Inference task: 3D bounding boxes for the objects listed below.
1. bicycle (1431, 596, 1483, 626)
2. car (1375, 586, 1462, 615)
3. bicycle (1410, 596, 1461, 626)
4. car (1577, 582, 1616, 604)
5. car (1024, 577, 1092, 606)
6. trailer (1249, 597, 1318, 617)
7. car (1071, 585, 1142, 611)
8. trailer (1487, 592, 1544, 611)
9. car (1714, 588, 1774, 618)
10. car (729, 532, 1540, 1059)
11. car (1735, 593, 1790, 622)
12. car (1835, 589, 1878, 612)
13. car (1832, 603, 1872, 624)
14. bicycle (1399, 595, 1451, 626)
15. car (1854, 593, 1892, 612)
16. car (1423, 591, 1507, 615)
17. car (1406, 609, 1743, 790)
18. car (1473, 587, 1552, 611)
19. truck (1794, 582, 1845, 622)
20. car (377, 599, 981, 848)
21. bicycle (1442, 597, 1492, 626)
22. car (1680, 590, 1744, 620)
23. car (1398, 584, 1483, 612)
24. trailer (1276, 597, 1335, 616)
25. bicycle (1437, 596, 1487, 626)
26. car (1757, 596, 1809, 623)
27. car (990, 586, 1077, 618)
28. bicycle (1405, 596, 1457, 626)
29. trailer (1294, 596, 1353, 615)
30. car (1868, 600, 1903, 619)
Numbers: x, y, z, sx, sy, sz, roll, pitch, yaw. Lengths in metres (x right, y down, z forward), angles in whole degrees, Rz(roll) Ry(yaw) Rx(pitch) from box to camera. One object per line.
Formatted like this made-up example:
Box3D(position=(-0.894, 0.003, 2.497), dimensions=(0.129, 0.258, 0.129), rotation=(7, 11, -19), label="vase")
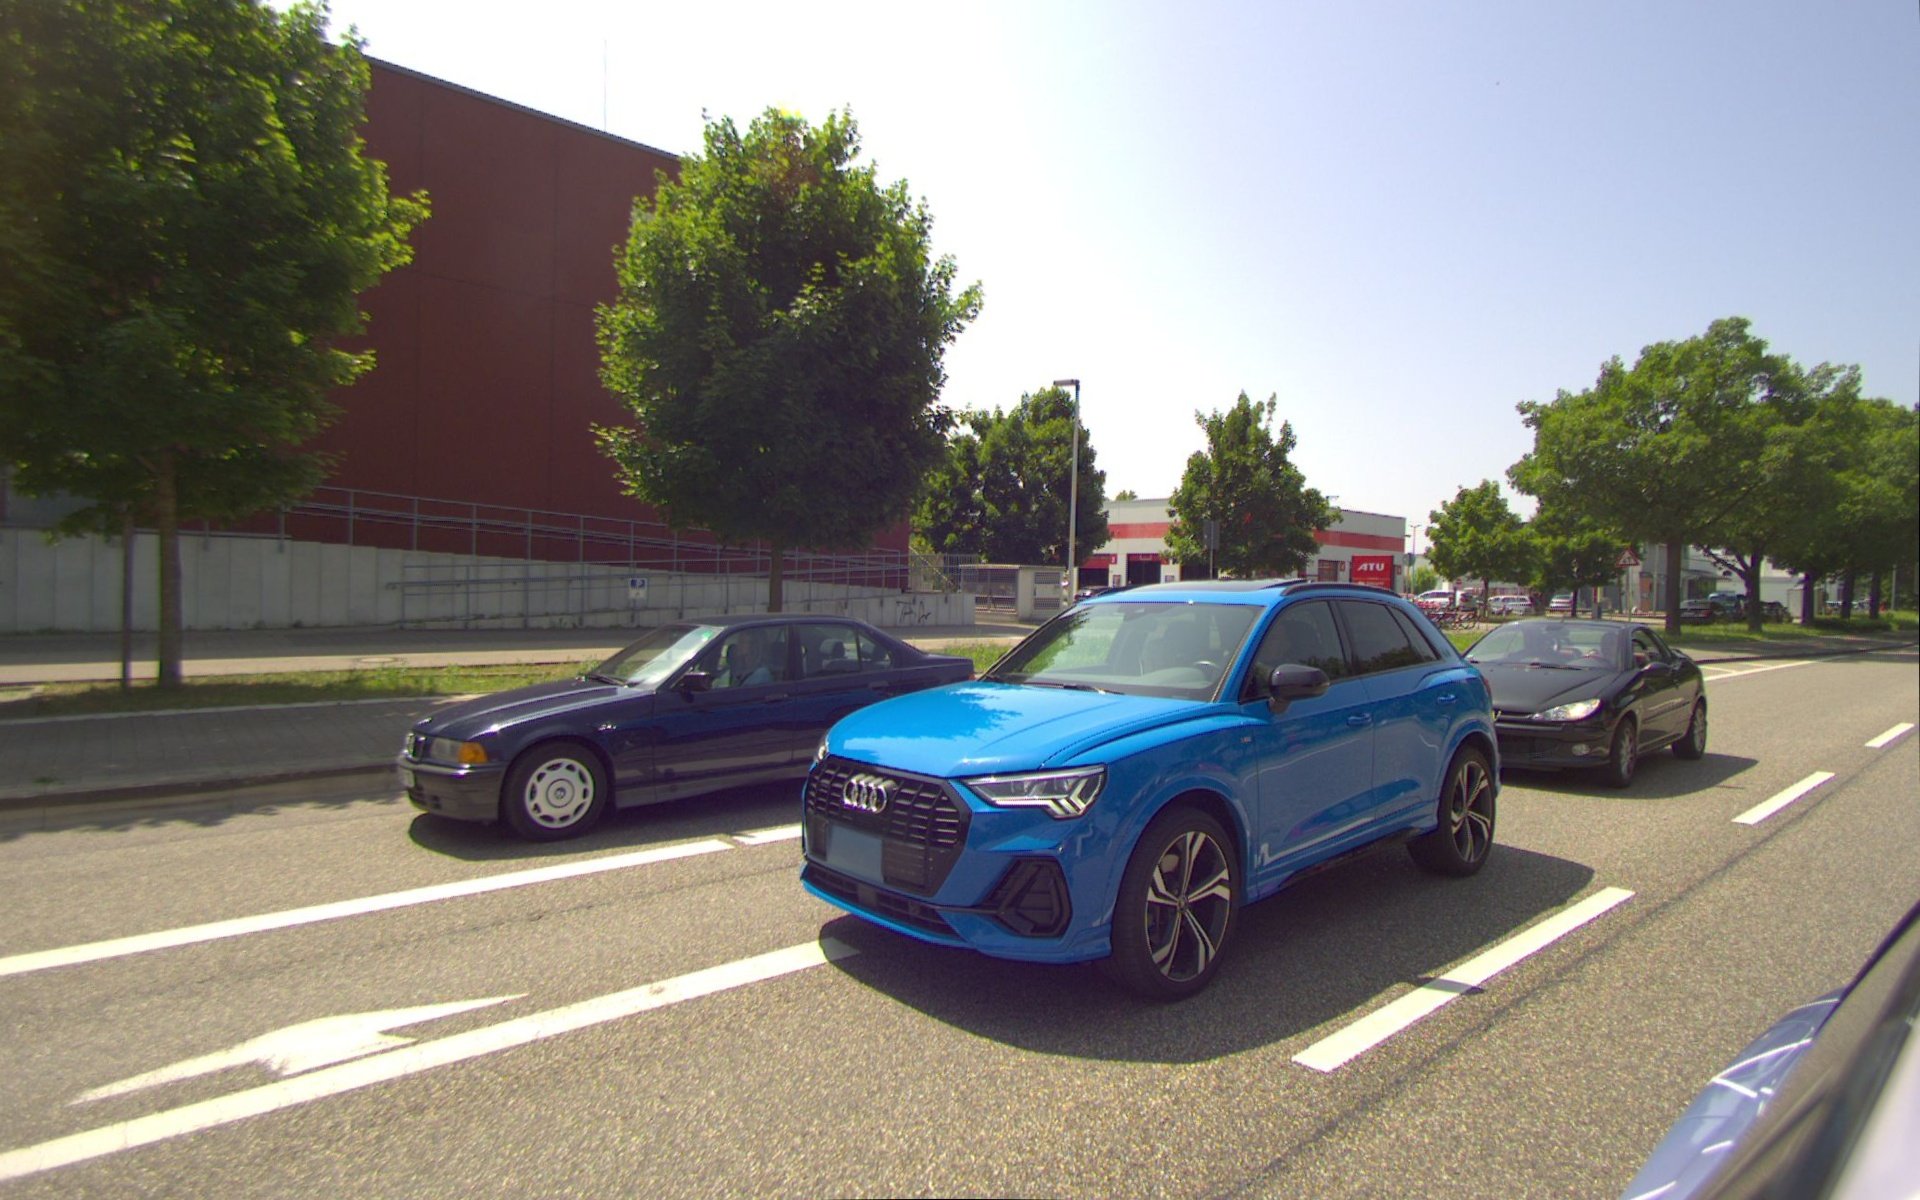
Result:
Box3D(position=(20.149, 0.447, 41.060), dimensions=(1.779, 1.138, 0.506), rotation=(2, 1, 43), label="bicycle")
Box3D(position=(25.107, 0.005, 55.459), dimensions=(1.718, 1.419, 3.992), rotation=(1, 1, -43), label="car")
Box3D(position=(19.239, 0.440, 40.958), dimensions=(1.779, 1.138, 0.506), rotation=(2, 1, 43), label="bicycle")
Box3D(position=(47.539, -0.515, 75.561), dimensions=(1.753, 1.616, 3.939), rotation=(2, 1, 42), label="car")
Box3D(position=(5.871, -0.493, 60.255), dimensions=(4.073, 1.683, 1.716), rotation=(0, 1, -42), label="car")
Box3D(position=(13.894, 0.291, 43.570), dimensions=(1.423, 0.771, 2.467), rotation=(1, 1, -39), label="trailer")
Box3D(position=(8.304, -0.134, 57.269), dimensions=(4.073, 1.390, 1.716), rotation=(0, 2, -42), label="car")
Box3D(position=(33.296, 0.102, 60.716), dimensions=(1.551, 1.065, 2.638), rotation=(1, 1, -43), label="trailer")
Box3D(position=(41.372, 0.174, 53.391), dimensions=(3.929, 1.485, 1.719), rotation=(1, 1, -41), label="car")
Box3D(position=(1.200, 0.589, 5.238), dimensions=(4.323, 1.616, 1.840), rotation=(0, 1, -41), label="car")
Box3D(position=(45.167, 0.410, 56.942), dimensions=(3.929, 1.539, 1.719), rotation=(1, 1, -41), label="car")
Box3D(position=(63.311, 0.044, 71.473), dimensions=(3.929, 1.485, 1.719), rotation=(1, 1, -41), label="car")
Box3D(position=(67.501, 1.039, 76.566), dimensions=(3.929, 1.485, 1.719), rotation=(1, 1, -41), label="car")
Box3D(position=(18.384, 0.397, 40.049), dimensions=(1.779, 1.138, 0.506), rotation=(2, 1, 43), label="bicycle")
Box3D(position=(73.568, 0.207, 81.524), dimensions=(3.929, 1.485, 1.719), rotation=(1, 1, -41), label="car")
Box3D(position=(28.953, 0.131, 58.079), dimensions=(1.718, 1.223, 3.991), rotation=(1, 1, -43), label="car")
Box3D(position=(5.903, 0.765, 9.540), dimensions=(3.931, 1.361, 1.640), rotation=(1, -1, -42), label="car")
Box3D(position=(34.231, -0.085, 62.805), dimensions=(1.661, 1.317, 3.991), rotation=(1, 1, -43), label="car")
Box3D(position=(58.214, 0.131, 68.519), dimensions=(3.928, 2.599, 1.904), rotation=(1, 1, -39), label="truck")
Box3D(position=(-1.906, 0.705, 7.596), dimensions=(4.071, 1.388, 1.641), rotation=(1, -1, -40), label="car")
Box3D(position=(21.033, 0.462, 42.024), dimensions=(1.779, 1.138, 0.506), rotation=(2, 1, 43), label="bicycle")
Box3D(position=(36.826, 0.230, 49.530), dimensions=(3.929, 1.388, 1.641), rotation=(1, 1, -41), label="car")
Box3D(position=(26.930, -0.141, 56.795), dimensions=(1.718, 1.419, 3.991), rotation=(1, 1, -43), label="car")
Box3D(position=(15.270, 0.269, 44.736), dimensions=(1.244, 0.771, 2.137), rotation=(1, 1, -39), label="trailer")
Box3D(position=(20.614, 0.447, 41.570), dimensions=(1.779, 1.138, 0.506), rotation=(2, 1, 43), label="bicycle")
Box3D(position=(49.539, 0.539, 60.919), dimensions=(3.929, 1.532, 1.719), rotation=(1, 1, -41), label="car")
Box3D(position=(3.340, 0.074, 45.499), dimensions=(3.904, 1.329, 1.651), rotation=(0, 2, -42), label="car")
Box3D(position=(18.819, 0.439, 40.445), dimensions=(1.779, 1.138, 0.506), rotation=(2, 1, 43), label="bicycle")
Box3D(position=(16.497, 0.250, 45.972), dimensions=(1.368, 0.771, 2.137), rotation=(1, 1, -39), label="trailer")
Box3D(position=(77.861, 0.765, 85.119), dimensions=(3.929, 1.485, 1.719), rotation=(1, 1, -41), label="car")
